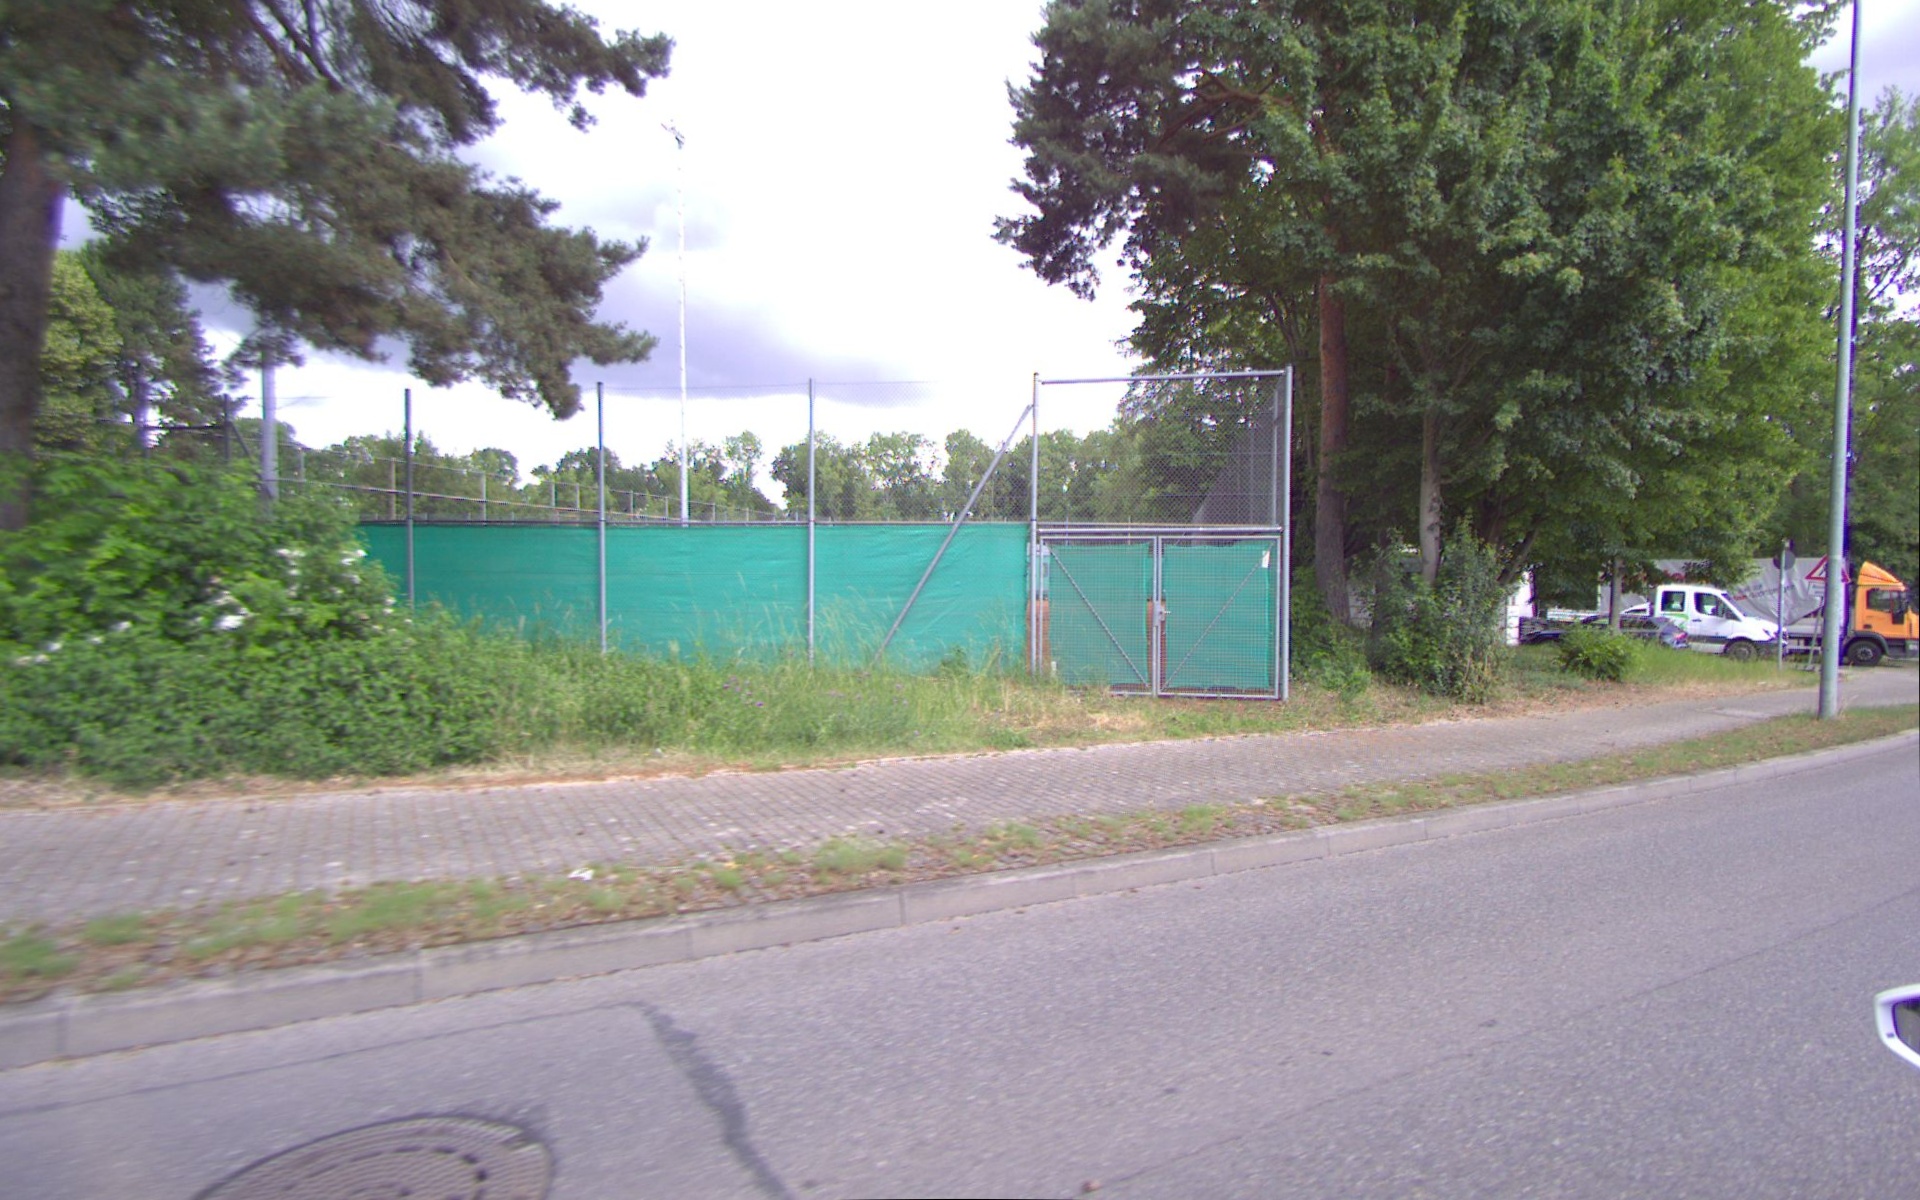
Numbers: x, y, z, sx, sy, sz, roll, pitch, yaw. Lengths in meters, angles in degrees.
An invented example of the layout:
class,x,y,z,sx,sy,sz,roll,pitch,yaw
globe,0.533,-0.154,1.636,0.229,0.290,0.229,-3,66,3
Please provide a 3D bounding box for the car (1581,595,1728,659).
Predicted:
class,x,y,z,sx,sy,sz,roll,pitch,yaw
car,24.153,0.890,35.008,3.943,1.935,1.772,4,3,43

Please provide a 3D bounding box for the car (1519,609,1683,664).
class,x,y,z,sx,sy,sz,roll,pitch,yaw
car,18.841,1.051,29.581,3.936,1.344,1.711,3,-1,37

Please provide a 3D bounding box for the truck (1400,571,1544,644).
class,x,y,z,sx,sy,sz,roll,pitch,yaw
truck,23.742,0.273,46.757,5.806,3.243,2.450,1,2,28

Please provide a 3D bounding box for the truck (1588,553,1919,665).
class,x,y,z,sx,sy,sz,roll,pitch,yaw
truck,28.264,0.179,36.189,2.549,3.578,9.136,2,0,-45

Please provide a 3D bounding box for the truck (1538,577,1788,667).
class,x,y,z,sx,sy,sz,roll,pitch,yaw
truck,22.569,0.620,32.500,6.315,2.448,2.112,4,1,43
